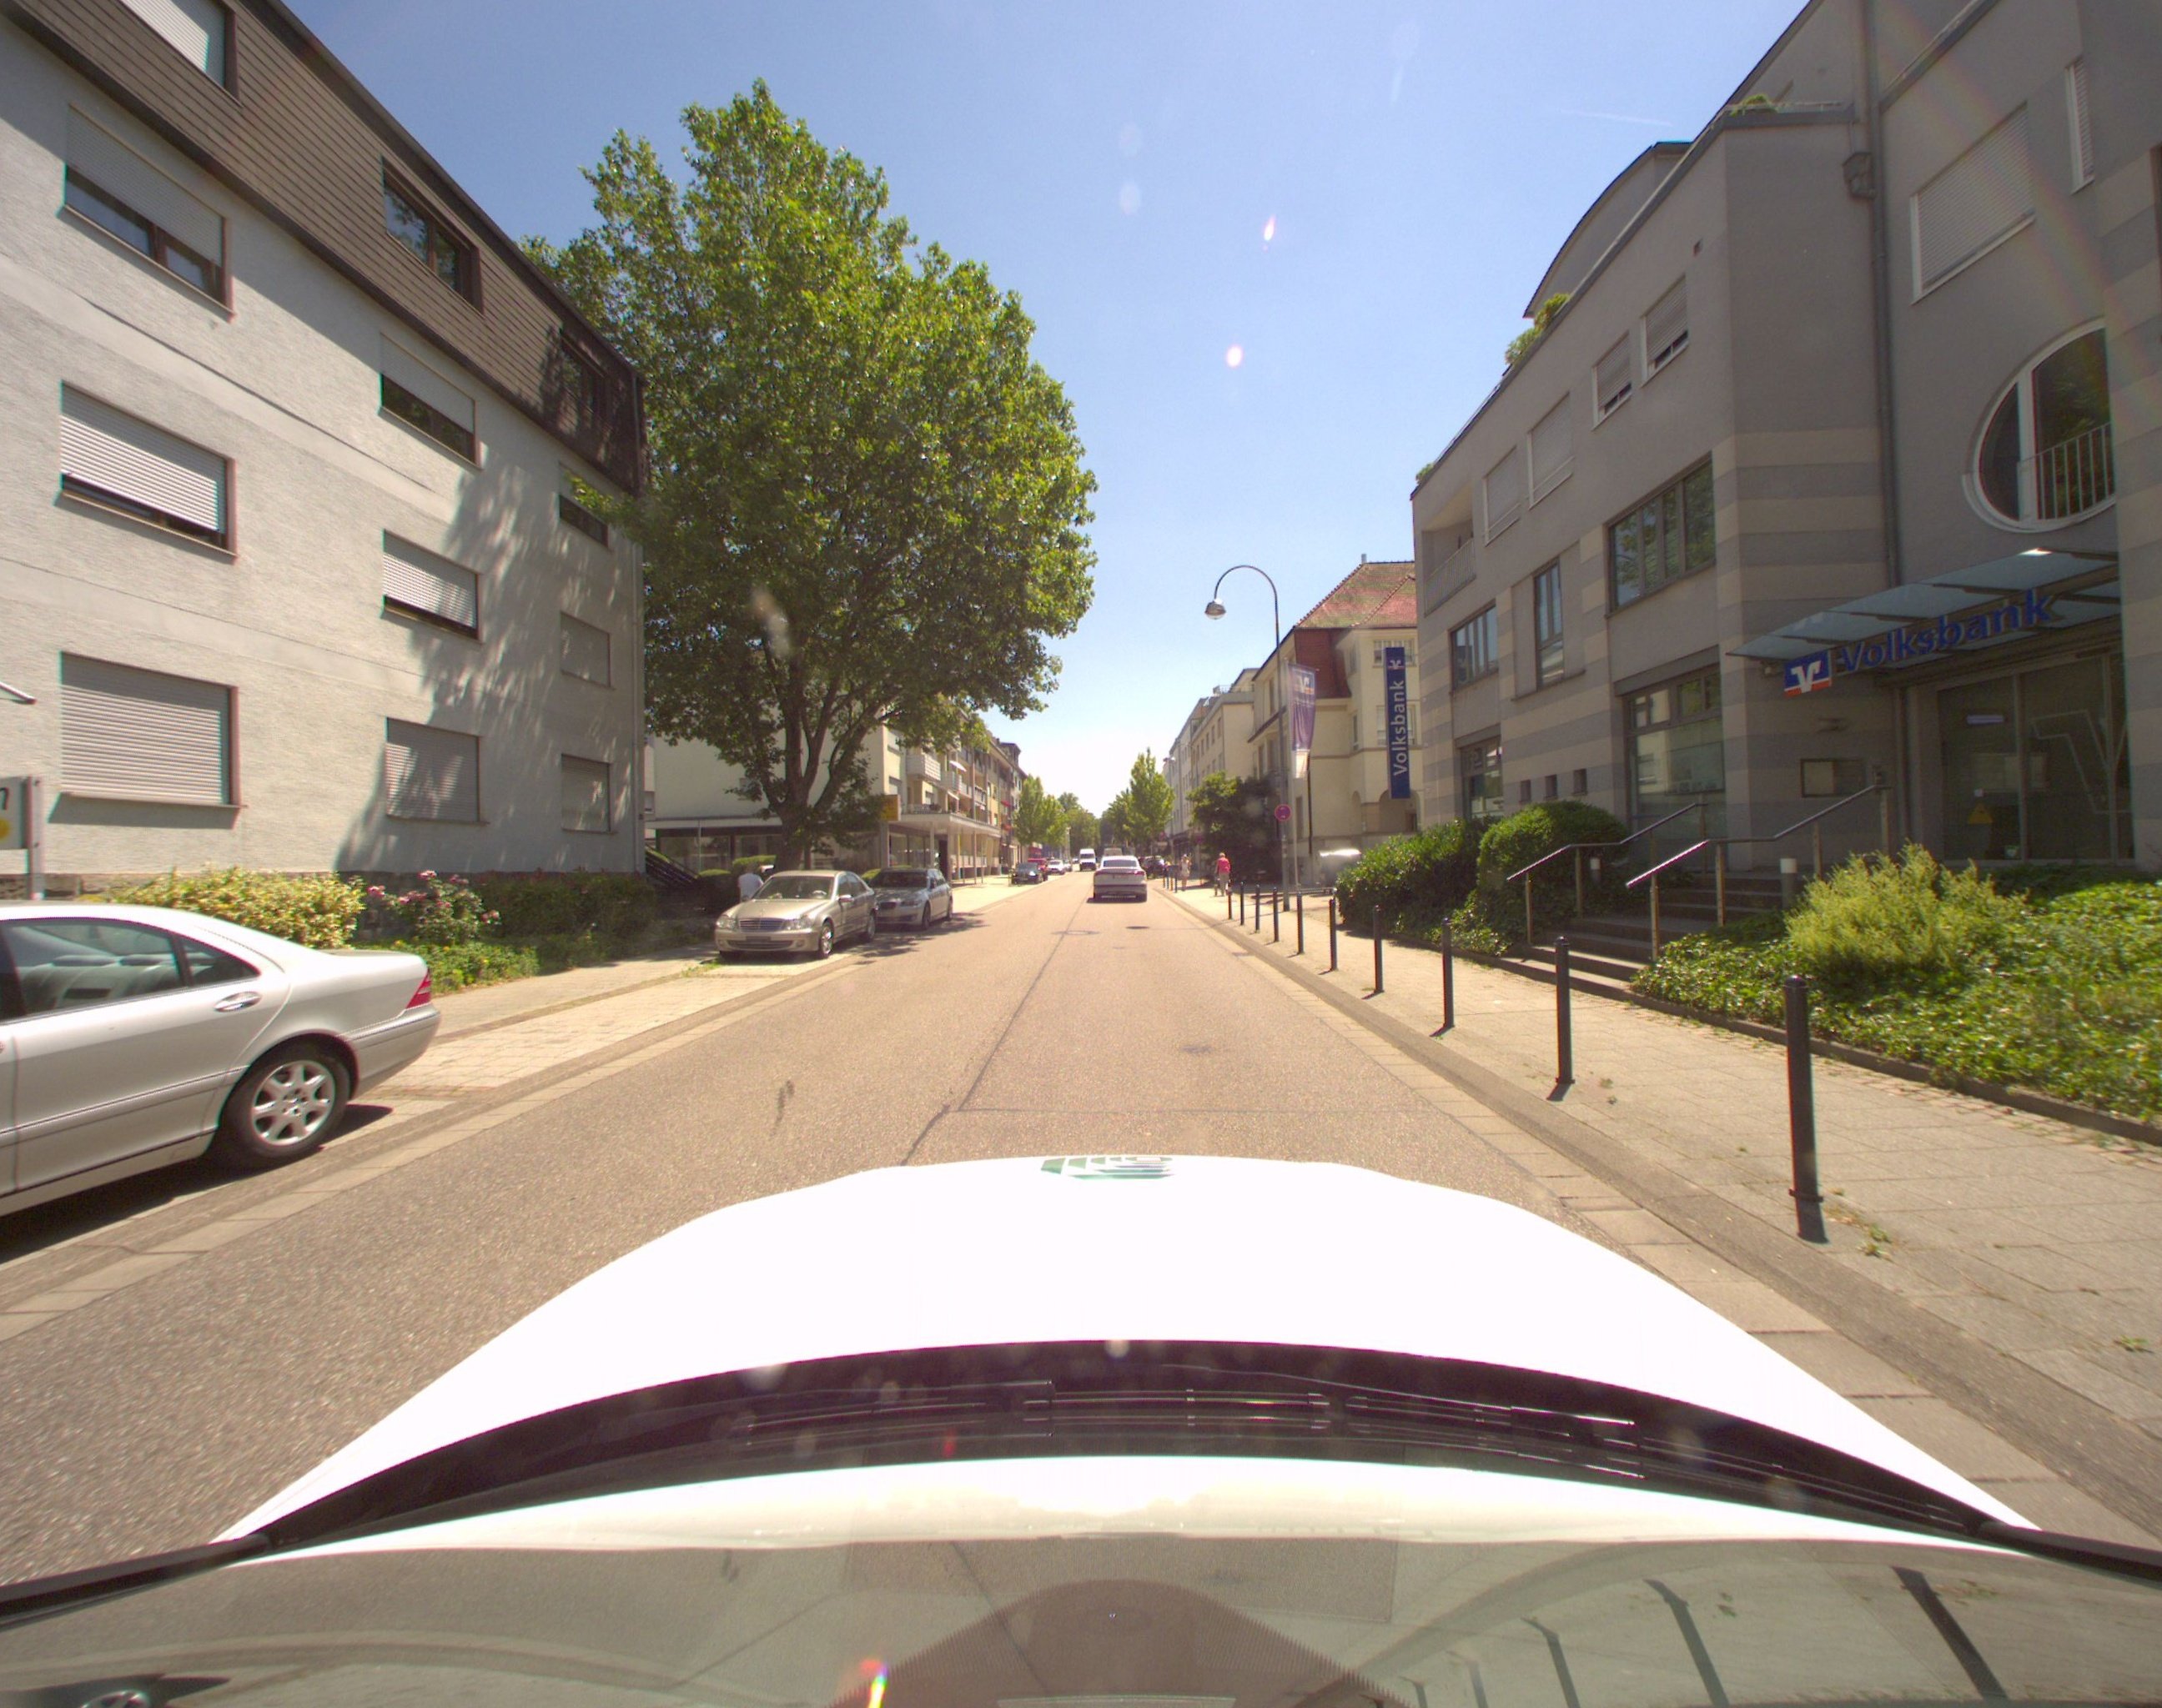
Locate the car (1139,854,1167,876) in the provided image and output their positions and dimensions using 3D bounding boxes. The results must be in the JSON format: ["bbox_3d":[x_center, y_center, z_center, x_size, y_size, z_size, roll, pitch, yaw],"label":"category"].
[{"bbox_3d":[6.066,0.917,69.048,1.890,1.674,4.689,-3,0,-1],"label":"car"}]

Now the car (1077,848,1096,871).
[{"bbox_3d":[0.728,0.666,99.247,2.029,2.630,7.109,-3,0,2],"label":"car"}]

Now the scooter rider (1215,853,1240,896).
[{"bbox_3d":[5.366,0.744,29.910,0.713,1.548,0.770,-3,-1,0],"label":"scooter rider"}]

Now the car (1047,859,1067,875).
[{"bbox_3d":[-2.508,1.318,85.710,1.745,1.618,4.404,0,0,3],"label":"car"}]

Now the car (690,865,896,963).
[{"bbox_3d":[-4.990,0.949,14.966,1.974,1.452,4.868,-1,0,1],"label":"car"}]

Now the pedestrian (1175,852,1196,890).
[{"bbox_3d":[4.687,0.762,36.585,0.697,1.627,0.784,-4,-1,0],"label":"pedestrian"}]

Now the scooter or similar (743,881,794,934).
[{"bbox_3d":[-6.826,1.157,17.820,0.660,1.098,1.029,0,0,3],"label":"scooter or similar"}]

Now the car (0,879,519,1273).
[{"bbox_3d":[-5.174,0.906,3.239,1.973,1.452,5.360,-1,0,2],"label":"car"}]

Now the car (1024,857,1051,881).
[{"bbox_3d":[-3.305,1.121,62.402,1.746,1.702,4.102,0,0,1],"label":"car"}]

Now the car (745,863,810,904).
[{"bbox_3d":[-12.229,1.159,32.682,1.902,1.486,3.958,-1,-1,-29],"label":"car"}]

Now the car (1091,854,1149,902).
[{"bbox_3d":[1.382,0.841,30.106,1.987,1.633,4.000,0,0,1],"label":"car"}]

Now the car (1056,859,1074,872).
[{"bbox_3d":[-1.825,1.324,96.568,1.745,1.453,4.405,0,0,4],"label":"car"}]

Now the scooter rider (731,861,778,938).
[{"bbox_3d":[-6.882,0.937,17.214,0.586,1.575,0.878,1,0,3],"label":"scooter rider"}]

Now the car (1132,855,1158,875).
[{"bbox_3d":[5.821,0.976,74.401,1.850,1.674,4.535,-3,0,-1],"label":"car"}]

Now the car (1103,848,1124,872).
[{"bbox_3d":[3.341,0.633,83.475,2.148,2.442,5.286,0,-1,2],"label":"car"}]

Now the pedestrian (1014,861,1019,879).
[{"bbox_3d":[-6.294,1.602,79.918,0.394,1.735,0.444,-2,-1,-9],"label":"pedestrian"}]

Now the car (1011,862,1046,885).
[{"bbox_3d":[-3.564,1.302,55.927,1.889,1.417,5.049,0,0,1],"label":"car"}]

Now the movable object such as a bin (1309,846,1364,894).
[{"bbox_3d":[8.483,0.525,27.115,1.362,1.458,1.382,-5,-1,3],"label":"movable object such as a bin"}]

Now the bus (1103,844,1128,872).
[{"bbox_3d":[4.221,0.515,98.153,2.648,3.221,7.309,0,-1,4],"label":"bus"}]

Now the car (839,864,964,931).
[{"bbox_3d":[-4.396,1.015,20.851,1.974,1.452,5.151,-1,0,1],"label":"car"}]

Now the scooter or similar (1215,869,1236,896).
[{"bbox_3d":[5.412,1.054,30.540,0.661,0.963,0.754,-2,-1,1],"label":"scooter or similar"}]

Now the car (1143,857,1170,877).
[{"bbox_3d":[5.813,0.972,62.907,1.888,1.438,4.548,-2,0,3],"label":"car"}]
